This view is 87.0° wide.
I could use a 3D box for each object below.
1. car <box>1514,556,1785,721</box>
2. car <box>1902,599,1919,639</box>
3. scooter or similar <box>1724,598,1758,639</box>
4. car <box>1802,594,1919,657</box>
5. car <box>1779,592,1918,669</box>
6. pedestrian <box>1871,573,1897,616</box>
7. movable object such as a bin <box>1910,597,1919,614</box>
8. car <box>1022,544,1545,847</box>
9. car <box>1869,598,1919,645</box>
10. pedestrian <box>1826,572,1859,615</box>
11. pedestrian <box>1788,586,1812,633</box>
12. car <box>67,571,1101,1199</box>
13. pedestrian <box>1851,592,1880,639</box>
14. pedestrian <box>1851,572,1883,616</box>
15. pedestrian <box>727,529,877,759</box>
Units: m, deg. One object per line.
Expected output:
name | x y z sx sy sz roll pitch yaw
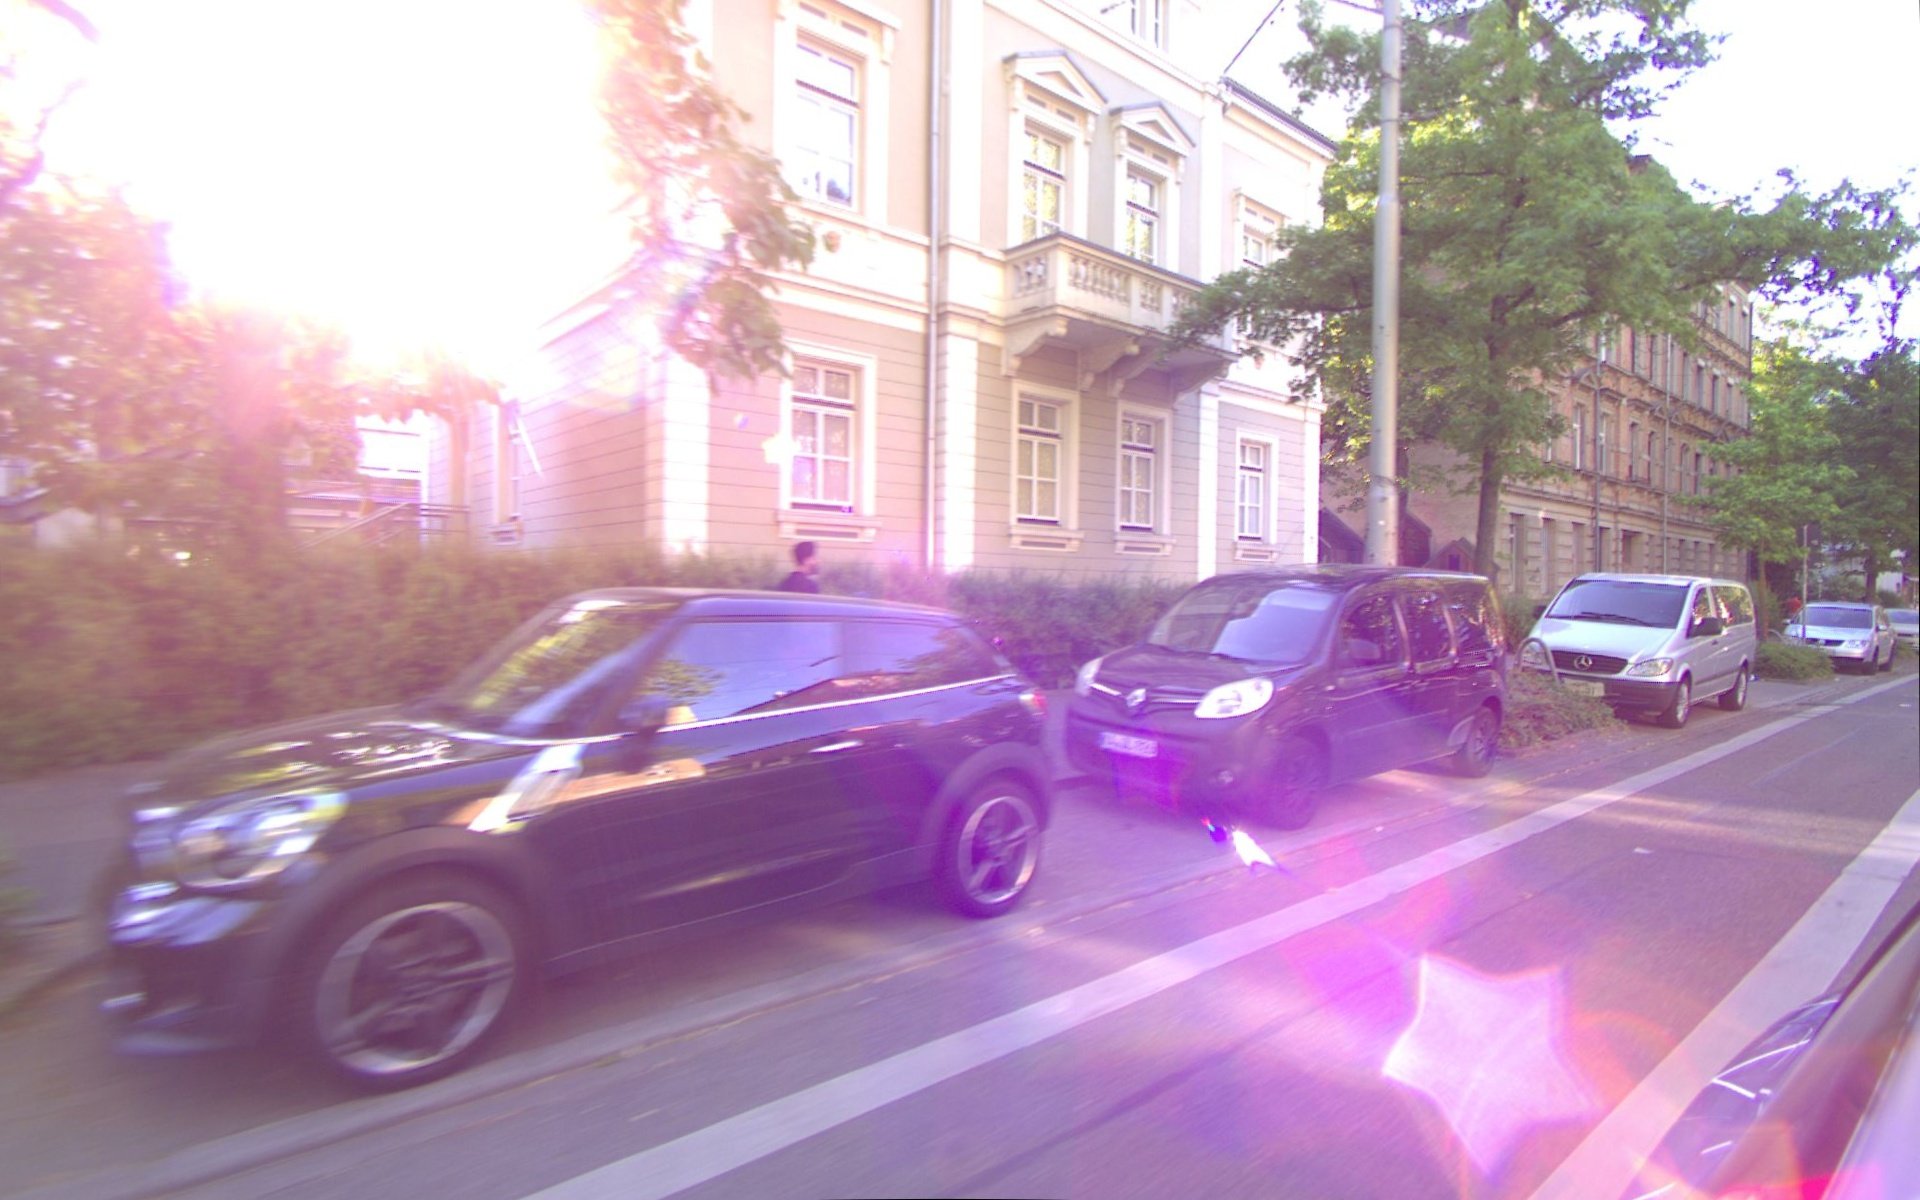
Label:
car | 9.710 0.404 14.087 4.881 1.874 1.888 0 3 -41
car | 36.491 0.723 37.703 3.777 1.429 1.676 -1 3 -42
scooter or similar | 24.960 0.572 32.325 1.311 1.262 0.577 0 0 -40
car | 24.923 0.643 27.909 4.514 1.485 1.888 0 3 -41
car | 21.273 0.648 24.182 4.168 1.587 1.888 0 3 -41
pedestrian | 39.290 -0.239 43.024 0.590 1.816 0.727 0 -1 -42
movable object such as a bin | 66.077 0.407 69.709 0.685 1.124 0.882 0 2 -42
car | 2.838 0.523 8.281 4.596 1.787 1.890 0 3 -41
car | 31.678 0.704 33.467 4.035 1.384 1.888 0 3 -41
pedestrian | 38.030 -0.262 43.620 0.948 1.815 0.729 1 2 -30
pedestrian | 32.480 0.354 39.120 0.716 1.816 0.599 0 -1 -43
car | -1.329 0.685 4.504 3.968 1.532 1.715 -1 3 -42
pedestrian | 33.483 0.566 37.415 0.941 1.714 0.726 0 -1 -44
pedestrian | 38.604 -0.265 43.091 0.836 1.815 0.729 1 2 -30
pedestrian | -1.279 0.320 8.172 0.820 1.733 0.832 2 1 -39
